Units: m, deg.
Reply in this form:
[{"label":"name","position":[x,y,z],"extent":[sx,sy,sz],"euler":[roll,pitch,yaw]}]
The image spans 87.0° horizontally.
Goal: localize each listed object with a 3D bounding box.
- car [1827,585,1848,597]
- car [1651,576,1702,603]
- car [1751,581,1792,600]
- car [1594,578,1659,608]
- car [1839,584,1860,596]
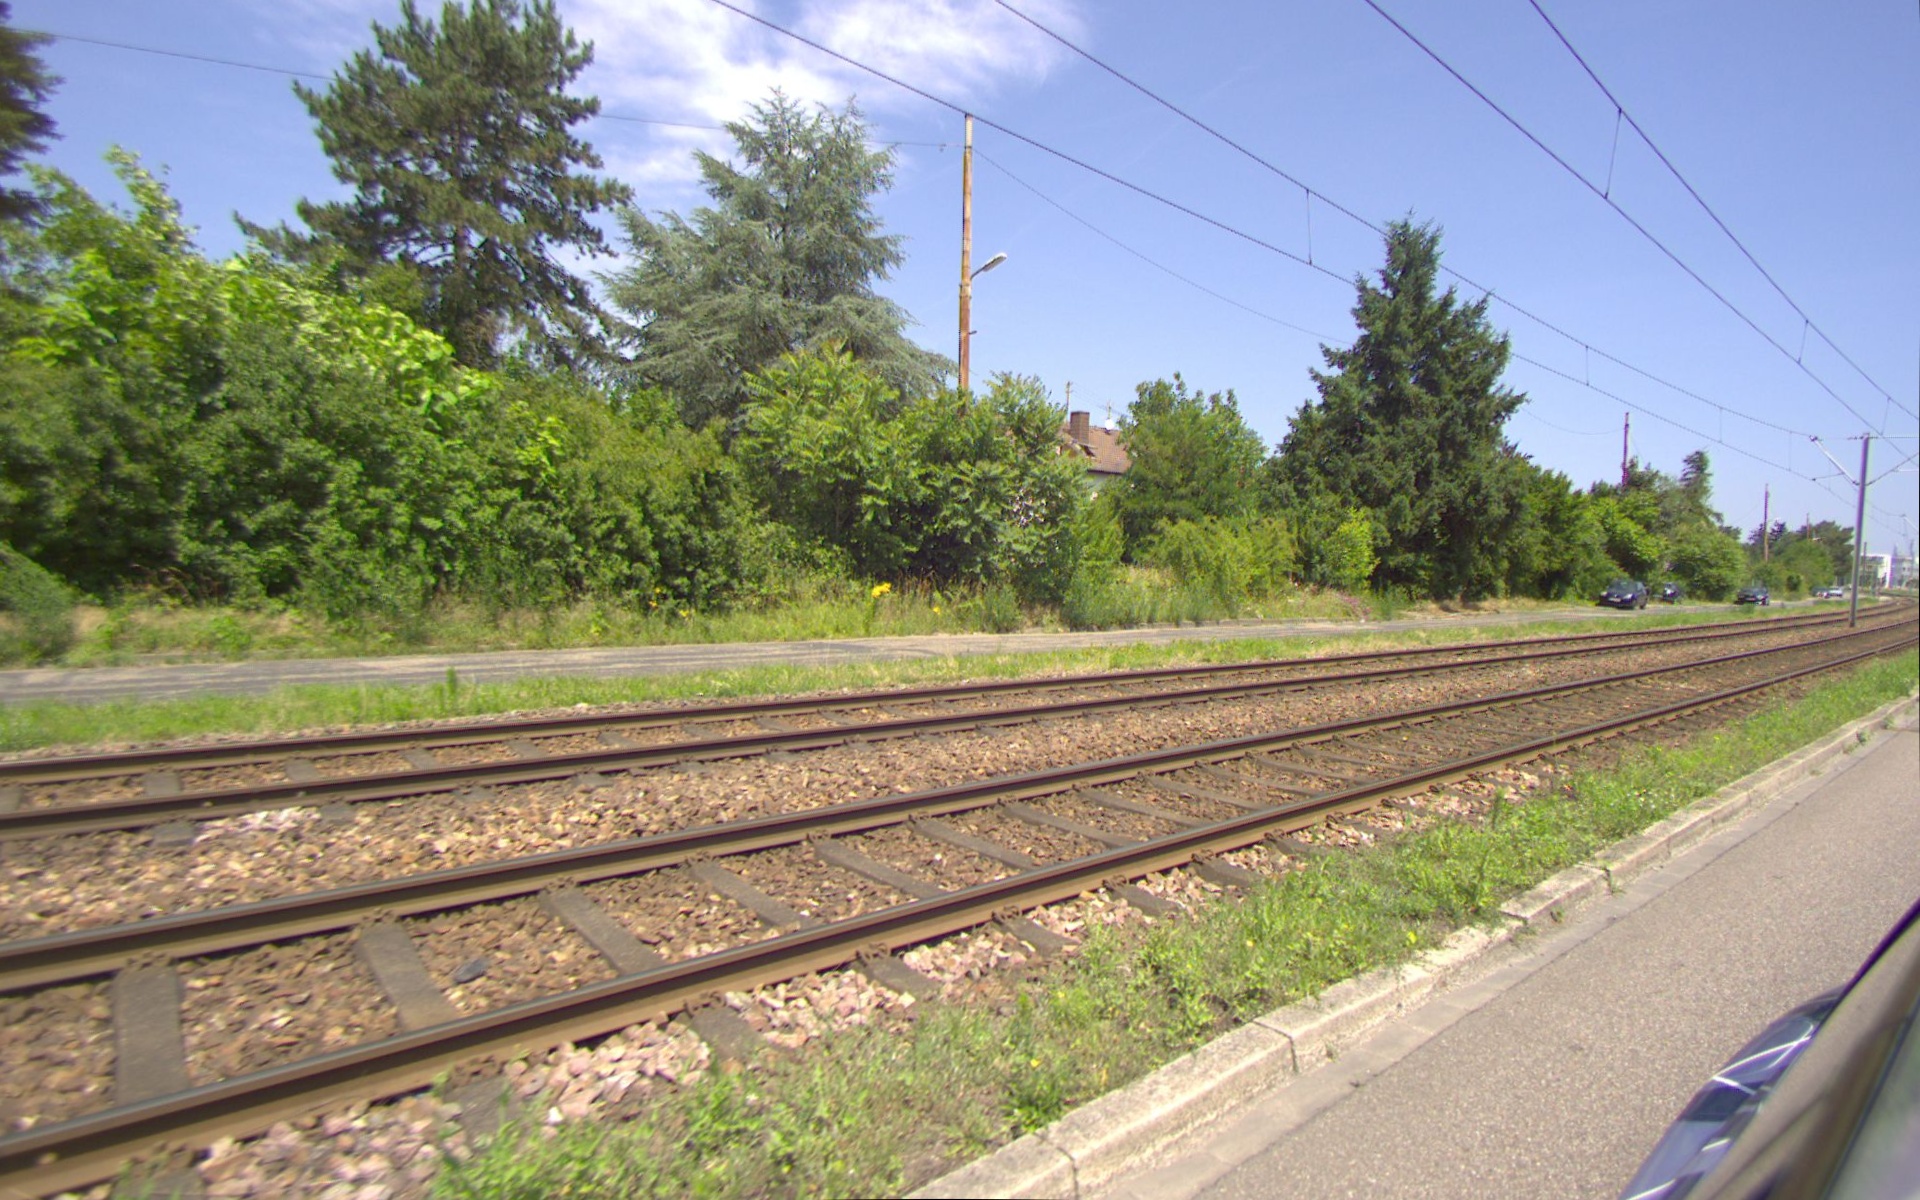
[{"label":"car","position":[106.870,-1.133,123.255],"extent":[1.620,1.439,4.796],"euler":[3,3,43]},{"label":"car","position":[46.053,-0.695,64.996],"extent":[1.936,1.580,4.483],"euler":[3,3,44]},{"label":"car","position":[58.869,-0.713,73.414],"extent":[1.862,1.346,4.443],"euler":[3,3,44]},{"label":"car","position":[34.697,-0.381,52.645],"extent":[3.933,1.488,1.917],"euler":[-1,3,-43]},{"label":"car","position":[119.734,-1.371,136.200],"extent":[1.939,1.439,3.938],"euler":[3,3,43]}]
